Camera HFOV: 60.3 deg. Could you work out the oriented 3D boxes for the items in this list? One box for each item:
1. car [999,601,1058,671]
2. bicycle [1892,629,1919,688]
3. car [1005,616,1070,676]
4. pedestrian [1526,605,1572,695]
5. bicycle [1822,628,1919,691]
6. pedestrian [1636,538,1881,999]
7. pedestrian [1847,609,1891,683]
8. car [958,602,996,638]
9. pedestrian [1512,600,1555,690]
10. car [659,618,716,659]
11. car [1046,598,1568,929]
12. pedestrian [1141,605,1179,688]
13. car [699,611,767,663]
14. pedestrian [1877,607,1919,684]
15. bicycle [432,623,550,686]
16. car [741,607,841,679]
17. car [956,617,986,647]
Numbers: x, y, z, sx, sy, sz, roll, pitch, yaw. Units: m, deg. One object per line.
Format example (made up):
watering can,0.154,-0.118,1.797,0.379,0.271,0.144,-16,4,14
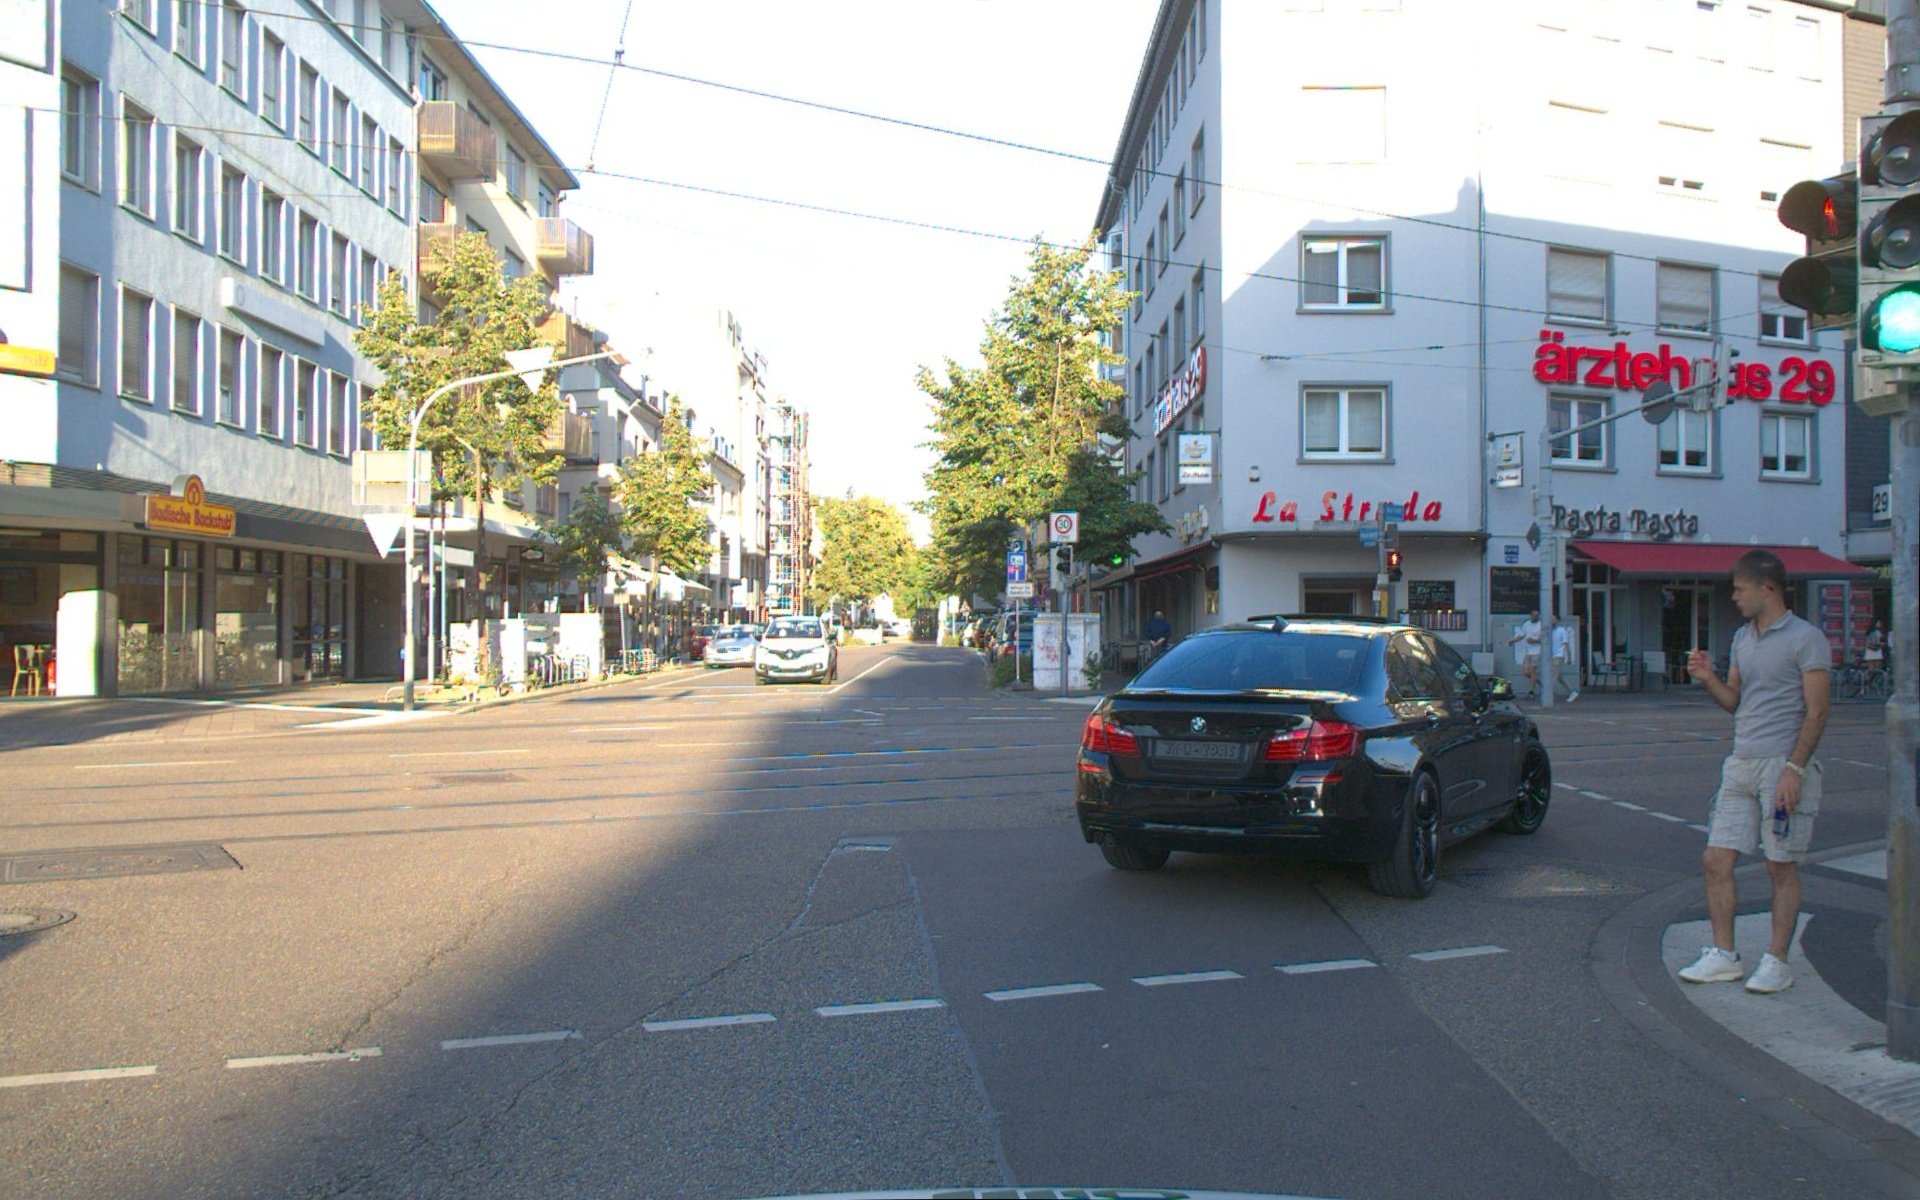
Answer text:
car,2.025,1.038,49.177,1.606,1.906,3.608,3,0,2
bicycle,21.054,1.291,35.325,0.544,1.245,2.104,1,1,-23
car,1.981,1.150,42.570,1.606,1.469,3.607,0,-1,2
pedestrian,11.737,0.990,32.964,0.654,1.775,0.637,0,-1,-9
bicycle,19.487,1.250,35.434,0.544,1.232,1.884,1,1,-23
pedestrian,3.224,0.653,6.733,0.638,1.773,0.694,0,-1,-2
pedestrian,21.285,1.066,38.724,0.614,1.690,0.679,0,0,-24
car,0.914,1.048,86.078,1.813,1.825,4.001,1,-1,2
pedestrian,11.674,0.917,33.671,0.587,1.810,0.637,0,-1,-10
car,-11.053,1.579,67.370,1.797,1.584,3.778,-1,-1,-2
car,2.368,0.793,10.171,1.917,1.524,4.457,1,0,29
pedestrian,4.161,0.969,34.401,0.697,1.706,0.703,0,-1,-1
car,-7.484,1.209,54.800,1.798,1.583,3.778,-2,-1,-2
pedestrian,21.516,1.034,37.929,0.592,1.729,0.618,0,0,-24
bicycle,-10.069,1.162,35.544,2.320,1.275,0.639,2,-2,-5
car,-3.984,1.030,39.542,2.065,1.584,4.011,-1,-1,-2
car,0.736,2.049,106.501,1.813,1.825,4.001,-1,-1,2
